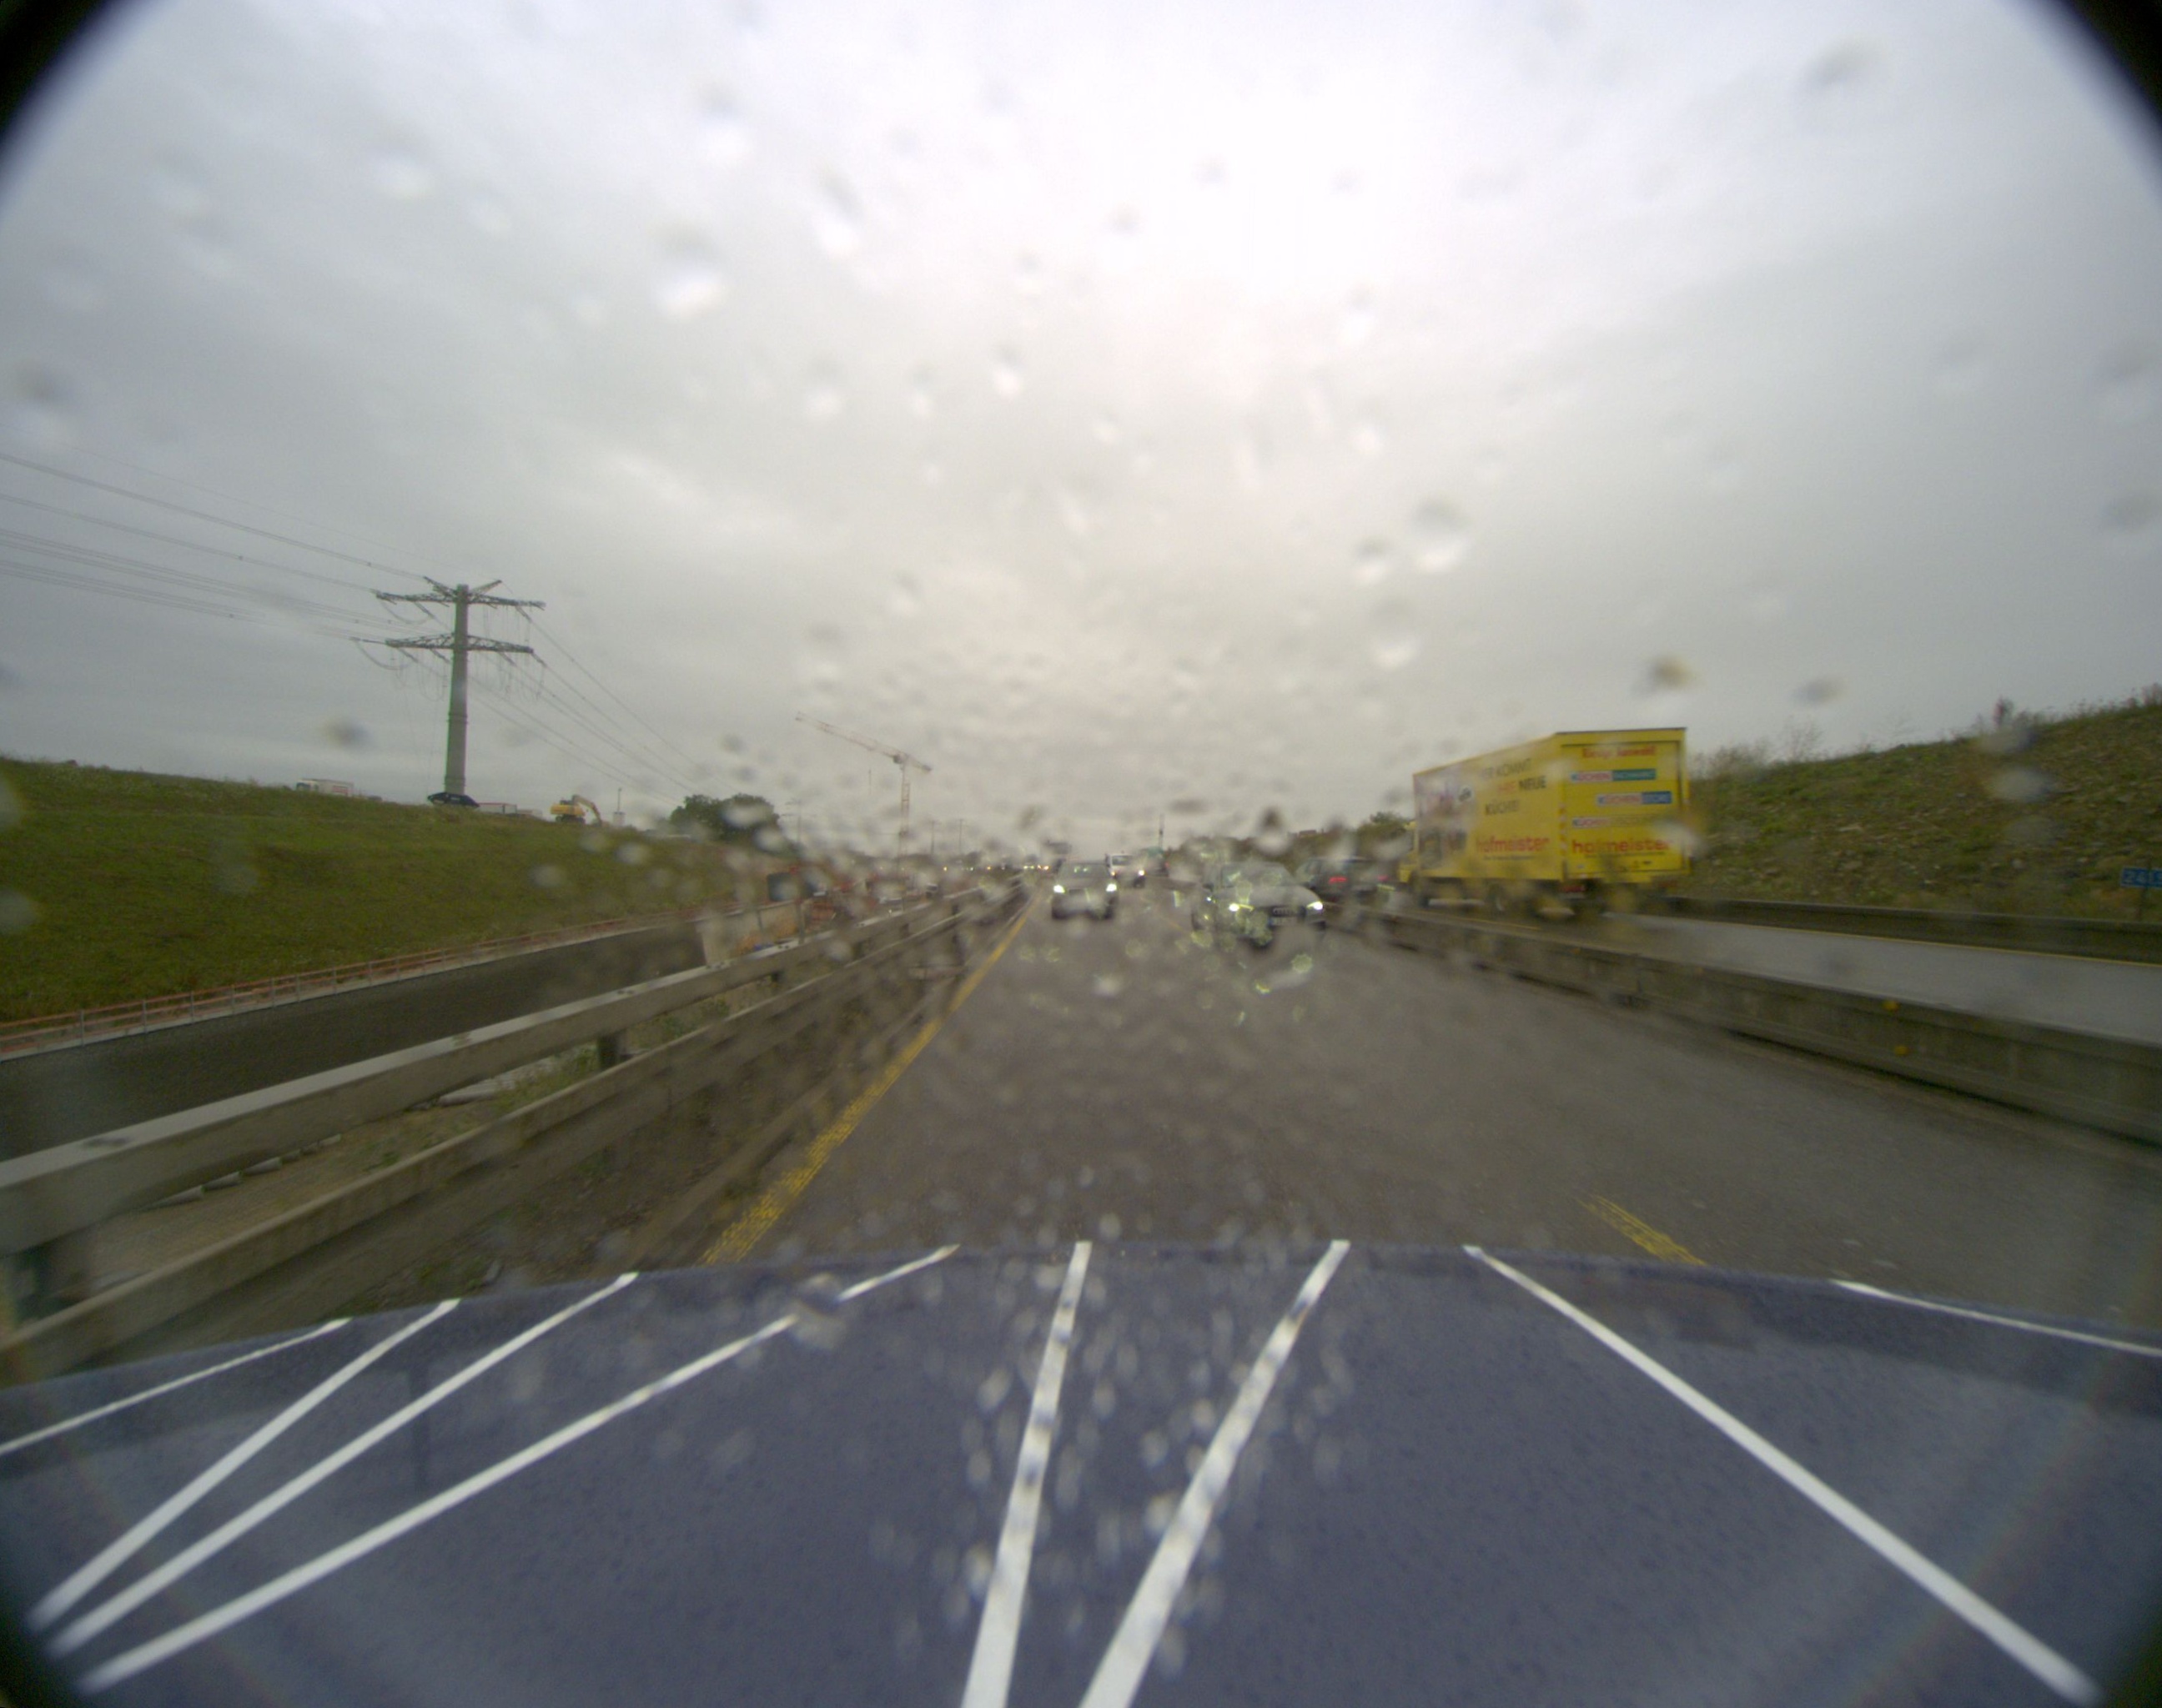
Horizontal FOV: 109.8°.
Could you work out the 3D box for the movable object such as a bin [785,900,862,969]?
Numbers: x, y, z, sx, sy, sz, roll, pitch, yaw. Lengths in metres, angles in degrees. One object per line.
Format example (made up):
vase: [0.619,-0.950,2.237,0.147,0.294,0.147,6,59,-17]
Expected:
movable object such as a bin: [-28.728,8.809,85.727,4.908,5.639,12.080,-4,3,-4]

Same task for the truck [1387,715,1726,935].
truck: [10.499,-0.539,18.280,2.775,3.973,8.422,-2,0,0]

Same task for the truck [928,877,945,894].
truck: [-34.625,7.517,182.611,3.363,3.521,8.899,-1,2,-7]

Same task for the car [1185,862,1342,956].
car: [3.167,0.887,14.033,1.805,1.375,4.087,-2,0,-1]

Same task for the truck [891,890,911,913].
truck: [-33.496,8.783,141.973,2.711,3.591,9.066,0,1,-7]

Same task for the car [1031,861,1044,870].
car: [-8.681,2.301,150.709,1.791,1.646,3.995,-3,0,-13]

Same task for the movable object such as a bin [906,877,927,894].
movable object such as a bin: [-38.010,7.253,175.463,3.518,3.405,6.650,-2,1,-2]

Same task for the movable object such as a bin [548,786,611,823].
movable object such as a bin: [-65.433,-6.401,99.413,3.108,4.181,8.176,-1,0,-3]

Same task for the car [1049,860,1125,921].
car: [0.128,0.929,21.325,1.874,1.481,4.260,-2,0,0]

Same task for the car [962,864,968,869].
car: [-38.106,3.996,249.579,1.791,1.418,3.996,-3,0,-11]

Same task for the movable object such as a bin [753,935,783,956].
movable object such as a bin: [-37.610,10.942,91.445,2.524,1.900,3.254,-4,1,-10]

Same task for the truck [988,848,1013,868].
truck: [-18.631,0.932,175.055,4.322,4.319,13.395,-3,0,-11]

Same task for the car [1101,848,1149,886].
car: [2.391,0.695,42.708,2.070,1.933,5.155,-2,0,-3]

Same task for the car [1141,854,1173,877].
car: [5.696,0.823,57.237,1.765,1.588,3.999,-3,0,-2]

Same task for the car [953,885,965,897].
car: [-28.858,8.740,179.659,1.999,2.002,3.999,-15,1,-3]

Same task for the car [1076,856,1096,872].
car: [0.582,1.095,88.059,1.790,1.744,3.998,-3,0,-6]

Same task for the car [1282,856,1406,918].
car: [6.836,0.791,20.213,1.872,1.398,4.115,-3,0,1]

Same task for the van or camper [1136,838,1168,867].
van or camper: [7.280,-0.154,78.907,2.106,2.801,5.940,-3,0,-6]

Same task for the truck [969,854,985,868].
truck: [-31.320,2.069,228.648,3.549,3.870,8.325,-3,0,-15]

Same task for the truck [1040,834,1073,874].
truck: [-2.345,-0.011,72.202,2.856,3.462,8.641,-2,0,-2]
